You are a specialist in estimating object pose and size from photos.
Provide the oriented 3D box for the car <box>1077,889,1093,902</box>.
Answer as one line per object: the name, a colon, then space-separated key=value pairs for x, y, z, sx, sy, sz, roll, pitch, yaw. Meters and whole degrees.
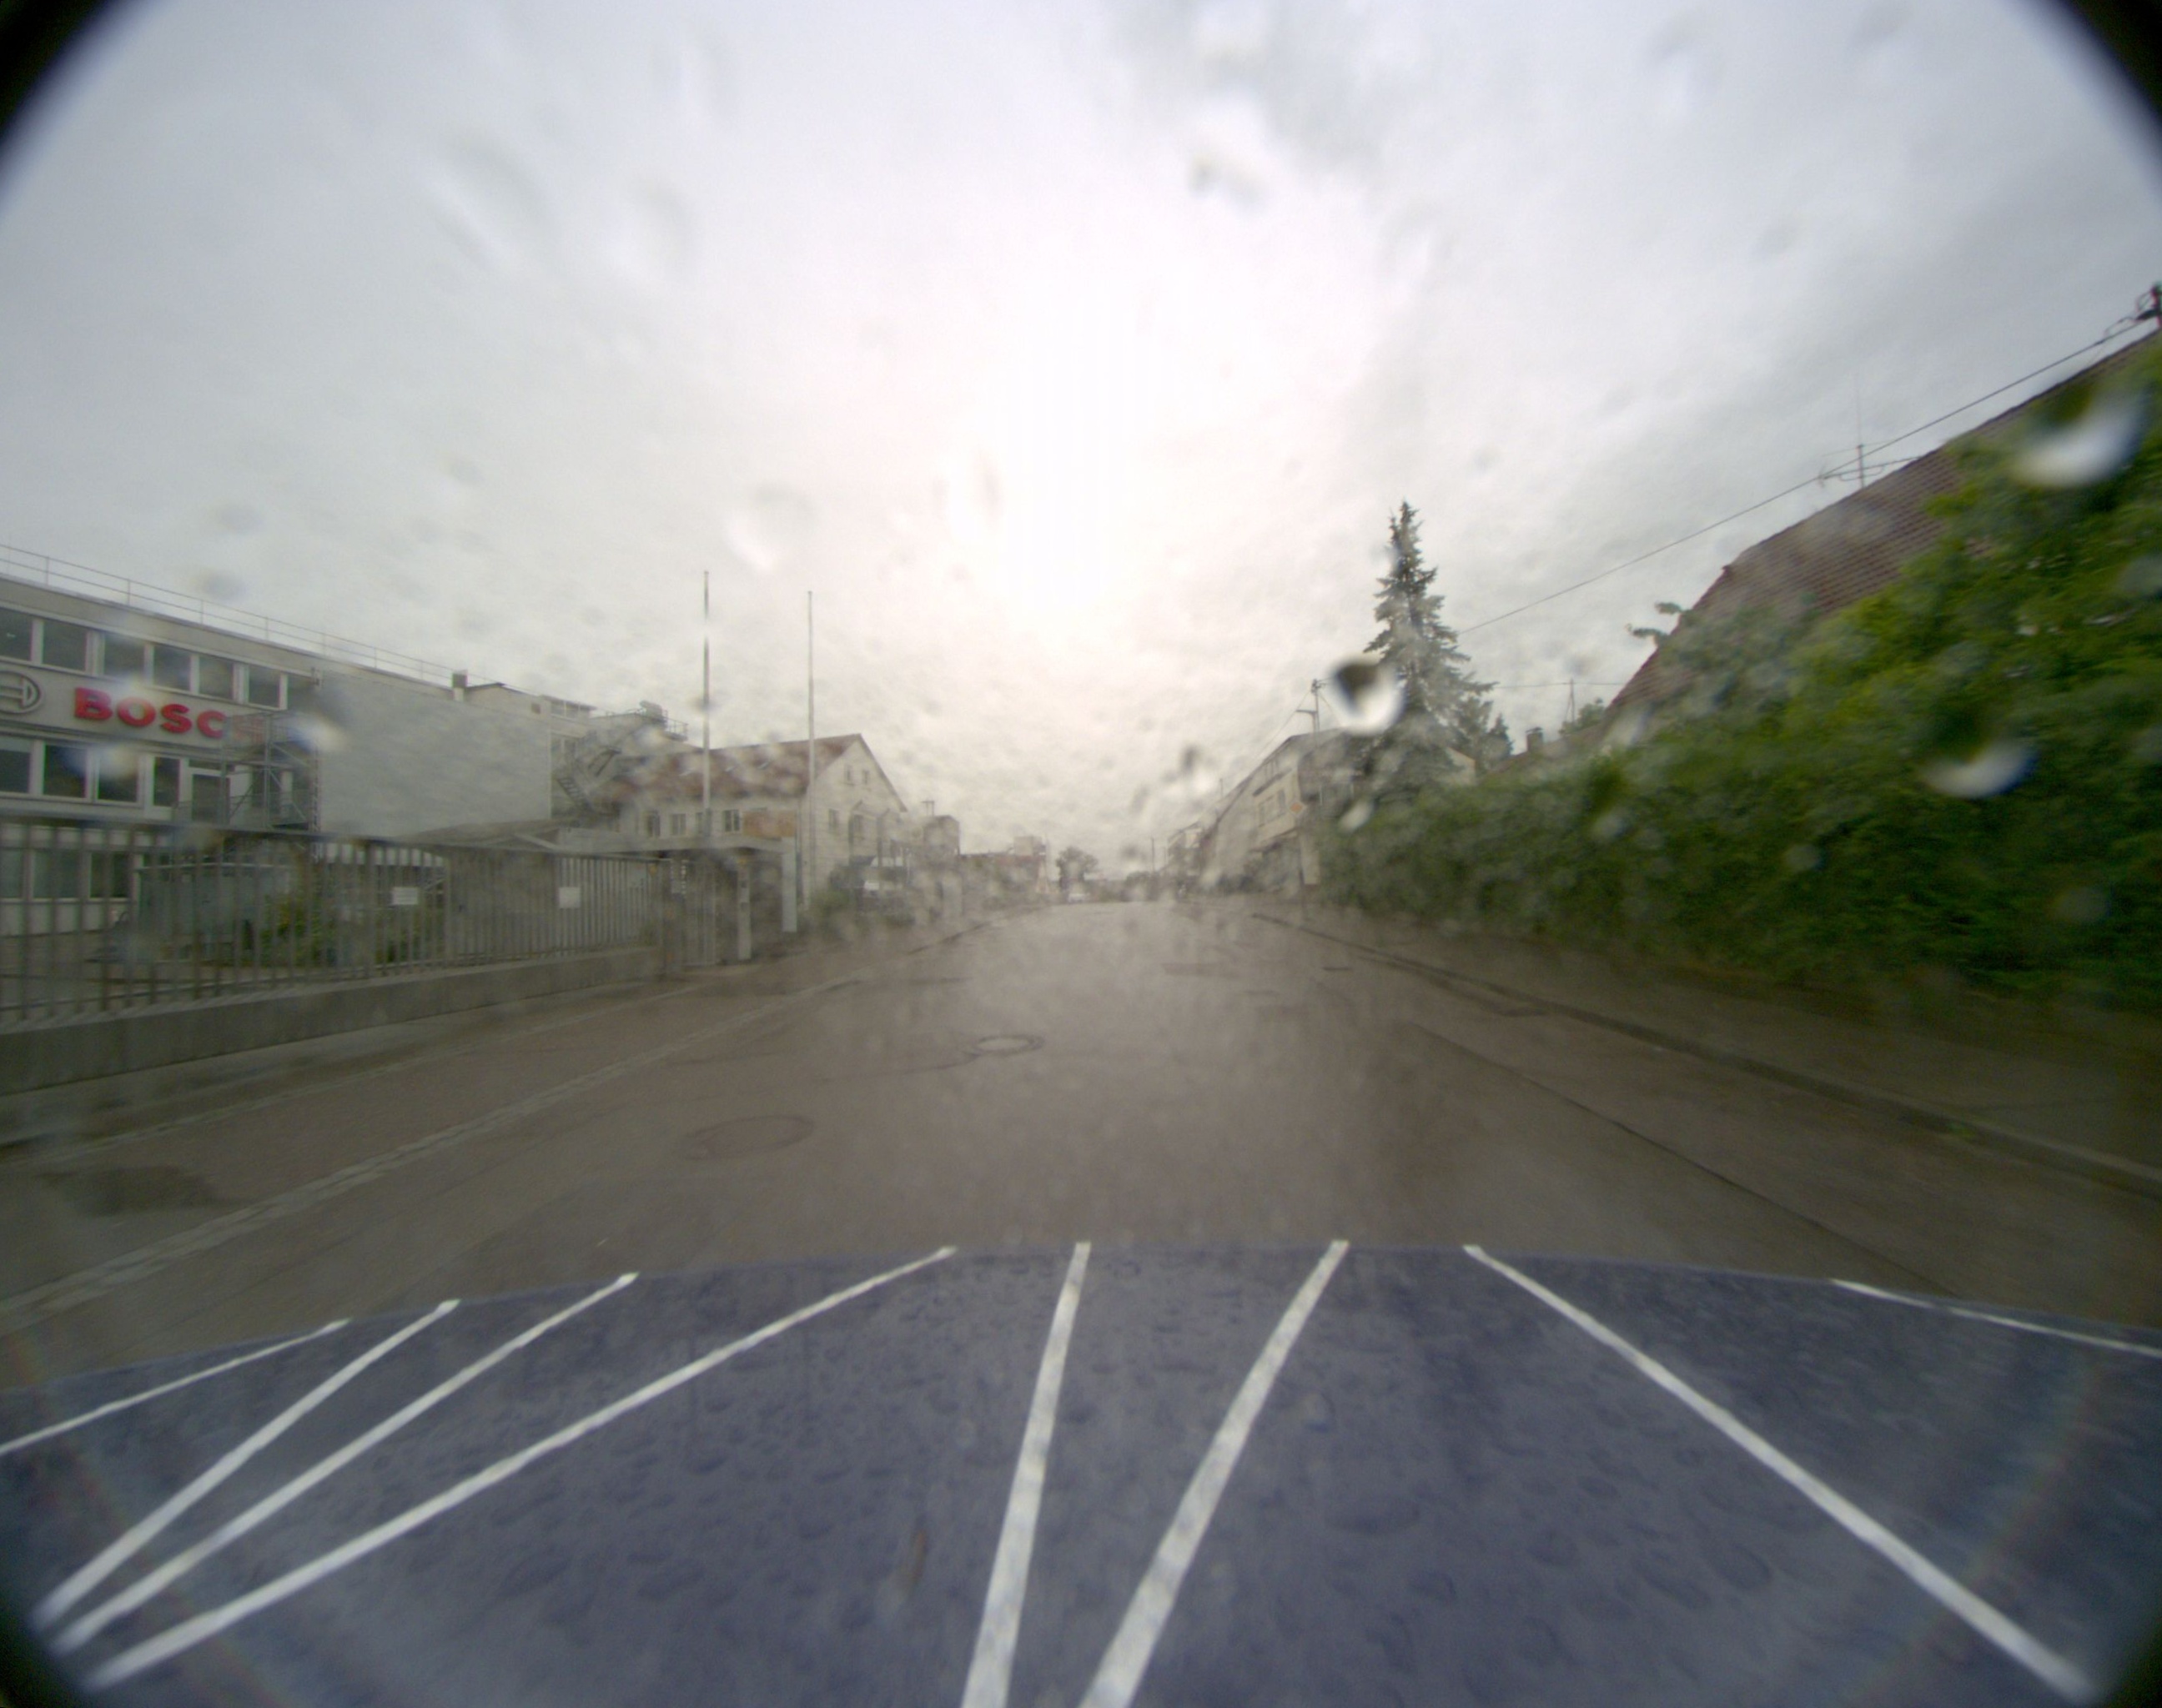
car: x=0.530 y=5.004 z=92.383 sx=1.897 sy=1.470 sz=4.001 roll=-1 pitch=-1 yaw=0

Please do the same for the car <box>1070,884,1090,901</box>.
car: x=-0.064 y=3.807 z=75.184 sx=1.897 sy=1.537 sz=4.001 roll=-1 pitch=-1 yaw=0

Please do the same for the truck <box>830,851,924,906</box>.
truck: x=-11.905 y=1.416 z=45.174 sx=2.323 sy=2.950 sz=7.140 roll=-2 pitch=-1 yaw=12

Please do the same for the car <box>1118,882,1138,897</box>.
car: x=5.040 y=3.812 z=82.176 sx=1.897 sy=1.523 sz=4.001 roll=-1 pitch=-1 yaw=0

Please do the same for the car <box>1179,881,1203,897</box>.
car: x=11.095 y=3.510 z=76.939 sx=1.897 sy=1.523 sz=4.001 roll=-1 pitch=-1 yaw=0

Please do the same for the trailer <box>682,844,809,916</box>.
trailer: x=-15.025 y=1.084 z=34.379 sx=2.631 sy=2.874 sz=4.637 roll=-5 pitch=-1 yaw=18

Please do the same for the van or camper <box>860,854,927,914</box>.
van or camper: x=-8.571 y=1.348 z=35.197 sx=2.090 sy=2.480 sz=5.804 roll=-1 pitch=-1 yaw=-5
